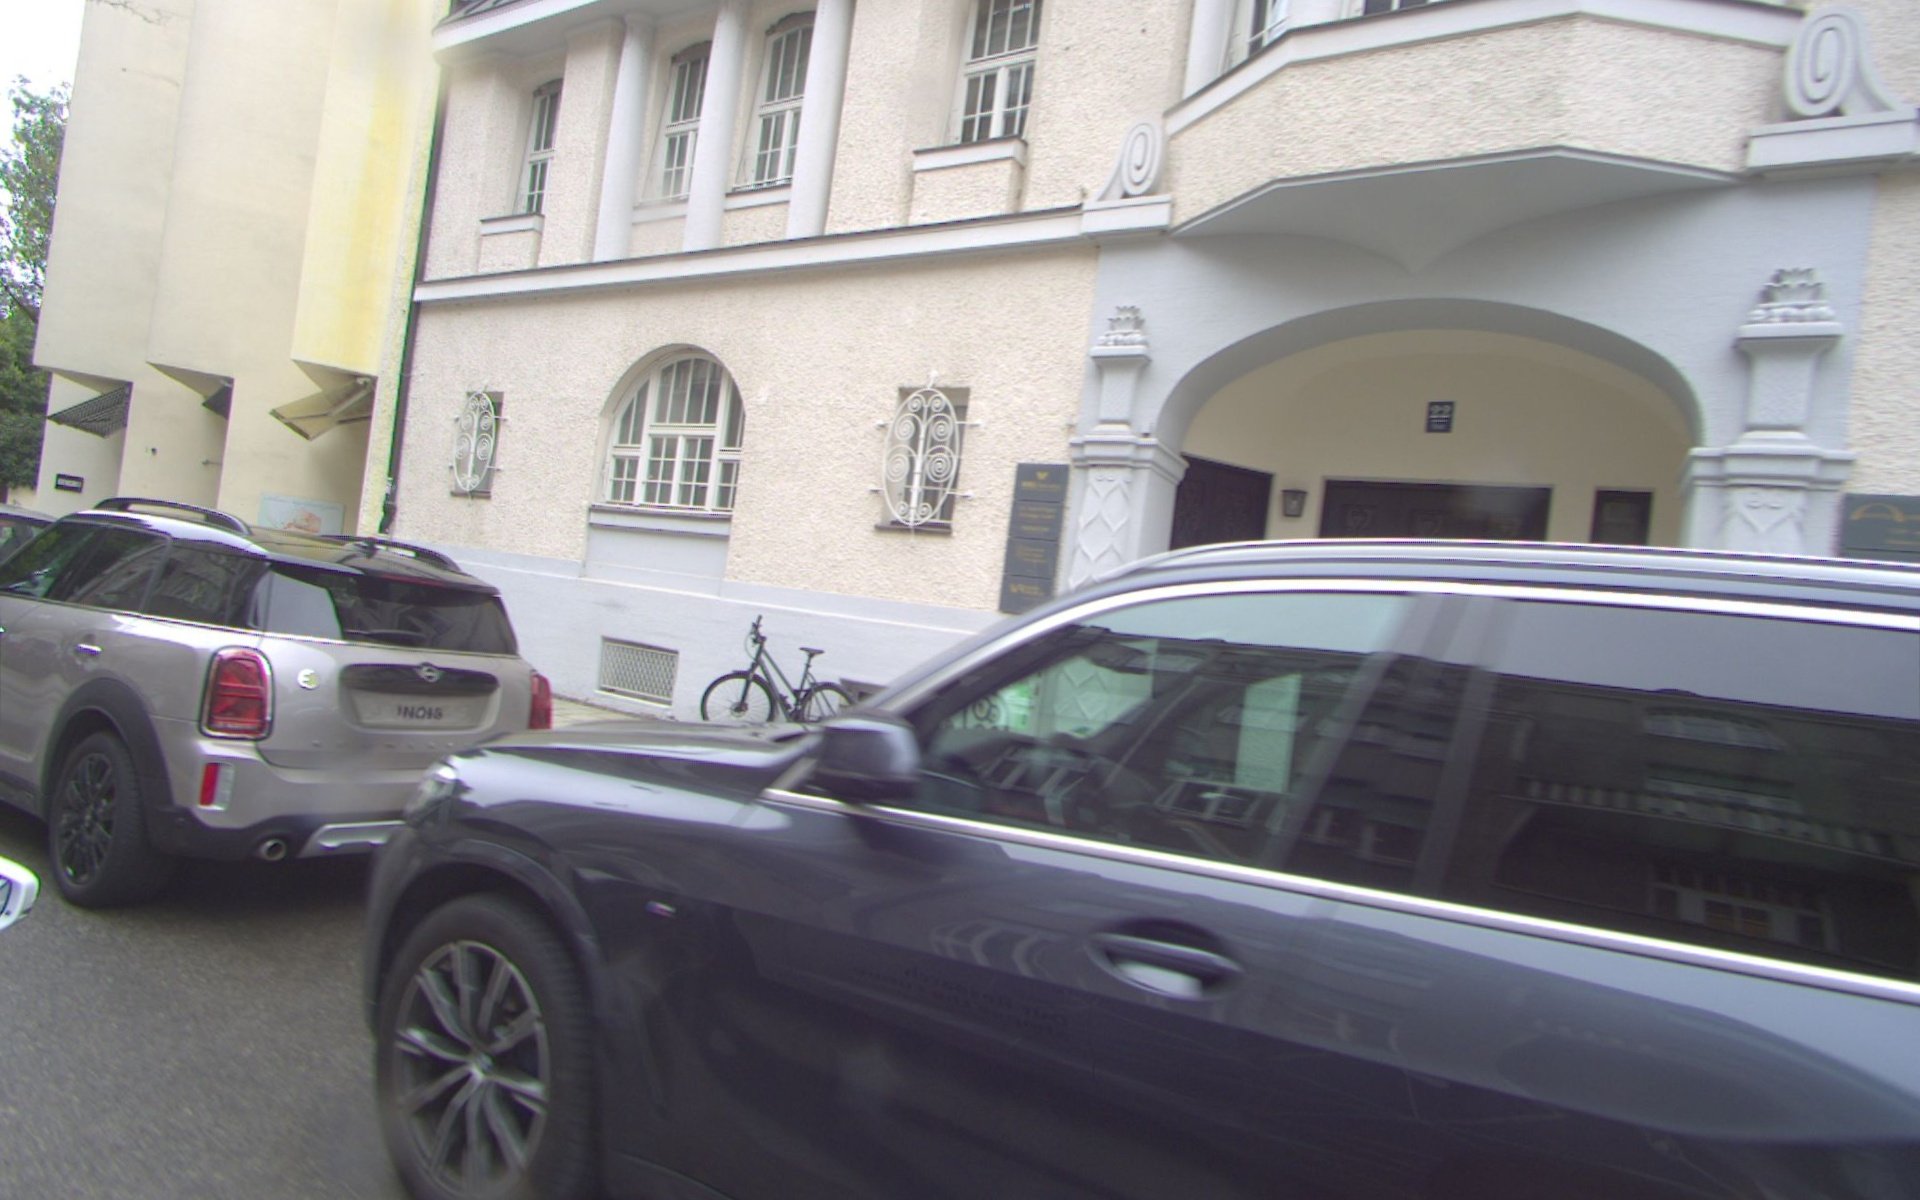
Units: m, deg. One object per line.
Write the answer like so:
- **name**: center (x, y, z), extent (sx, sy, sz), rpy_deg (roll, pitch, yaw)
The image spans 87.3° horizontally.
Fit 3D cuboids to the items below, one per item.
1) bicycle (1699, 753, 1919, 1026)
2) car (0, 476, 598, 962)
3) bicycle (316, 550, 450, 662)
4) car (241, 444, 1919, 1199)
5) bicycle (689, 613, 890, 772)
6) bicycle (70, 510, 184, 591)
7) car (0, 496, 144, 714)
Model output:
- **bicycle**: center (4.934, 1.525, 5.092), extent (1.757, 1.165, 0.482), rpy_deg (7, 2, 29)
- **car**: center (-3.951, 0.332, 5.144), extent (3.900, 1.610, 1.638), rpy_deg (7, -2, 29)
- **bicycle**: center (-7.258, 0.065, 12.644), extent (1.647, 1.208, 0.564), rpy_deg (7, 2, 26)
- **car**: center (0.633, 0.772, 2.398), extent (4.595, 1.707, 1.999), rpy_deg (7, -3, 31)
- **bicycle**: center (-1.567, 0.810, 9.134), extent (1.757, 1.164, 0.482), rpy_deg (7, -1, 29)
- **bicycle**: center (-12.307, -0.718, 14.934), extent (0.743, 1.045, 1.789), rpy_deg (6, 0, -23)
- **car**: center (-8.548, -0.159, 8.044), extent (3.787, 1.554, 1.639), rpy_deg (7, -2, 27)
